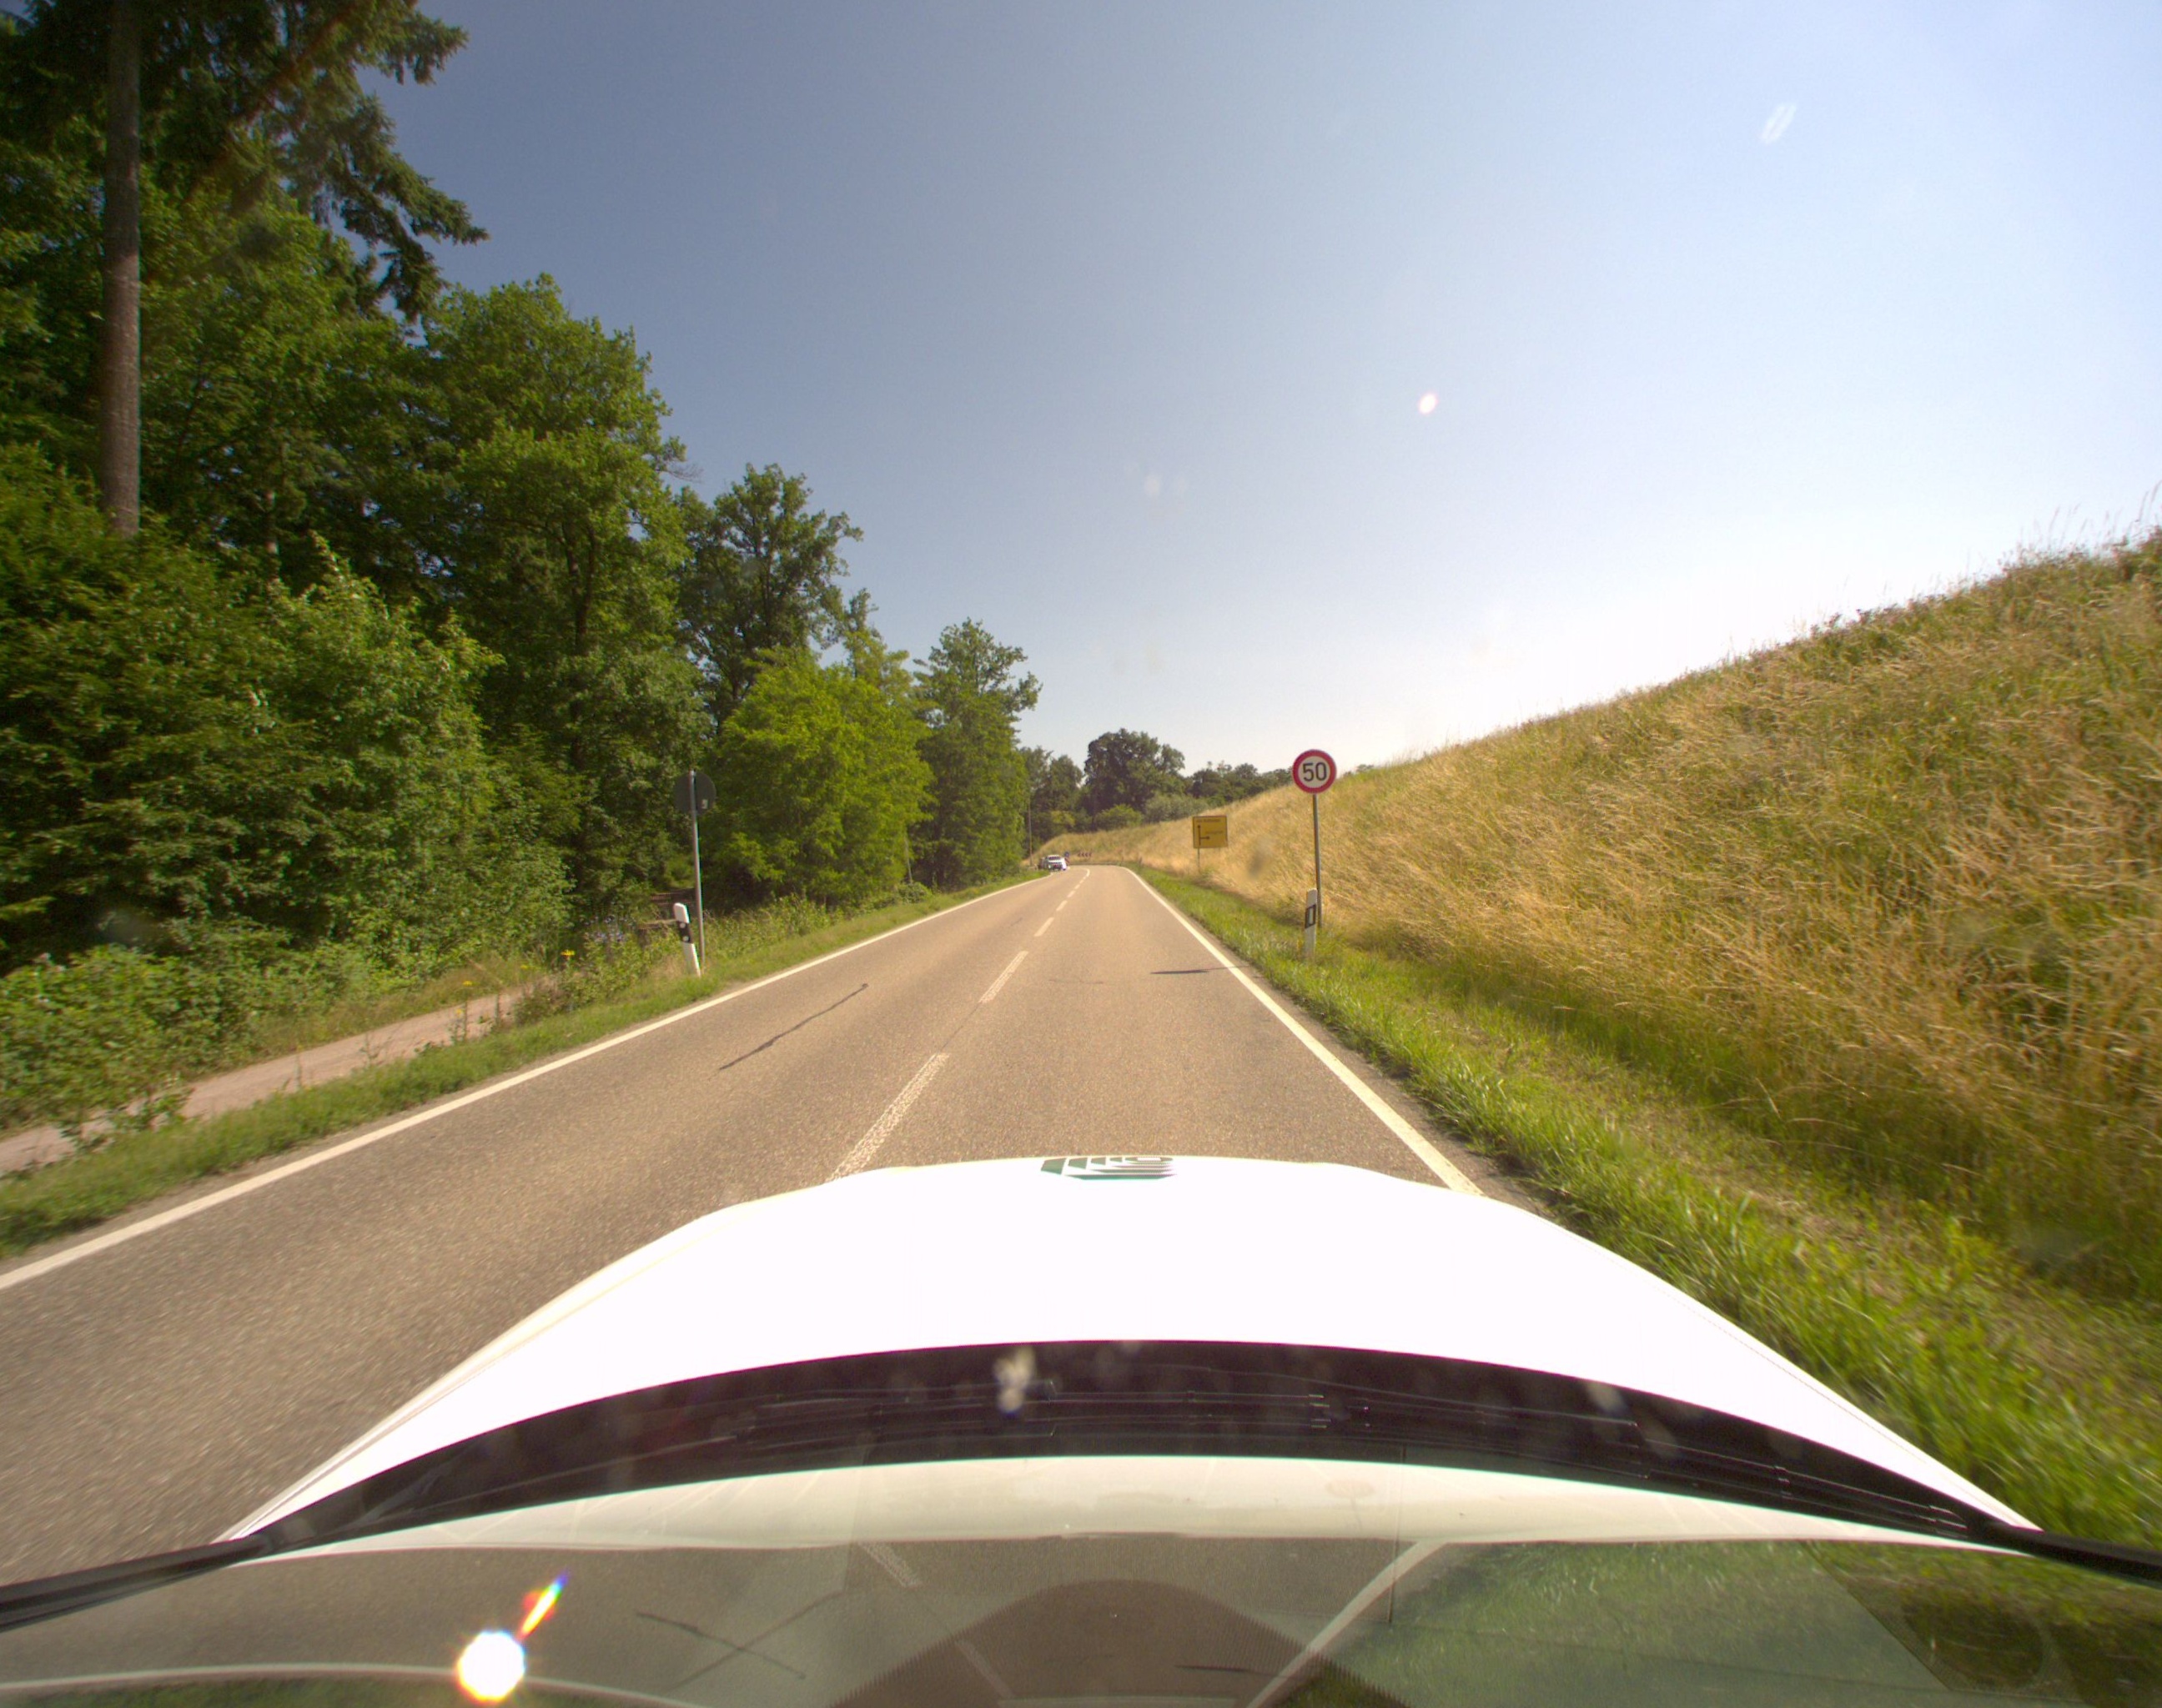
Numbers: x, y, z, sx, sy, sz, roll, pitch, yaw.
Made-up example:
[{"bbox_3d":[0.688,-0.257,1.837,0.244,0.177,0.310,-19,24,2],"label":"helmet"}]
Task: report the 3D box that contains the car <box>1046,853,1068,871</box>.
[{"bbox_3d":[-2.380,0.795,81.552,1.802,1.676,4.004,-4,0,3],"label":"car"}]
